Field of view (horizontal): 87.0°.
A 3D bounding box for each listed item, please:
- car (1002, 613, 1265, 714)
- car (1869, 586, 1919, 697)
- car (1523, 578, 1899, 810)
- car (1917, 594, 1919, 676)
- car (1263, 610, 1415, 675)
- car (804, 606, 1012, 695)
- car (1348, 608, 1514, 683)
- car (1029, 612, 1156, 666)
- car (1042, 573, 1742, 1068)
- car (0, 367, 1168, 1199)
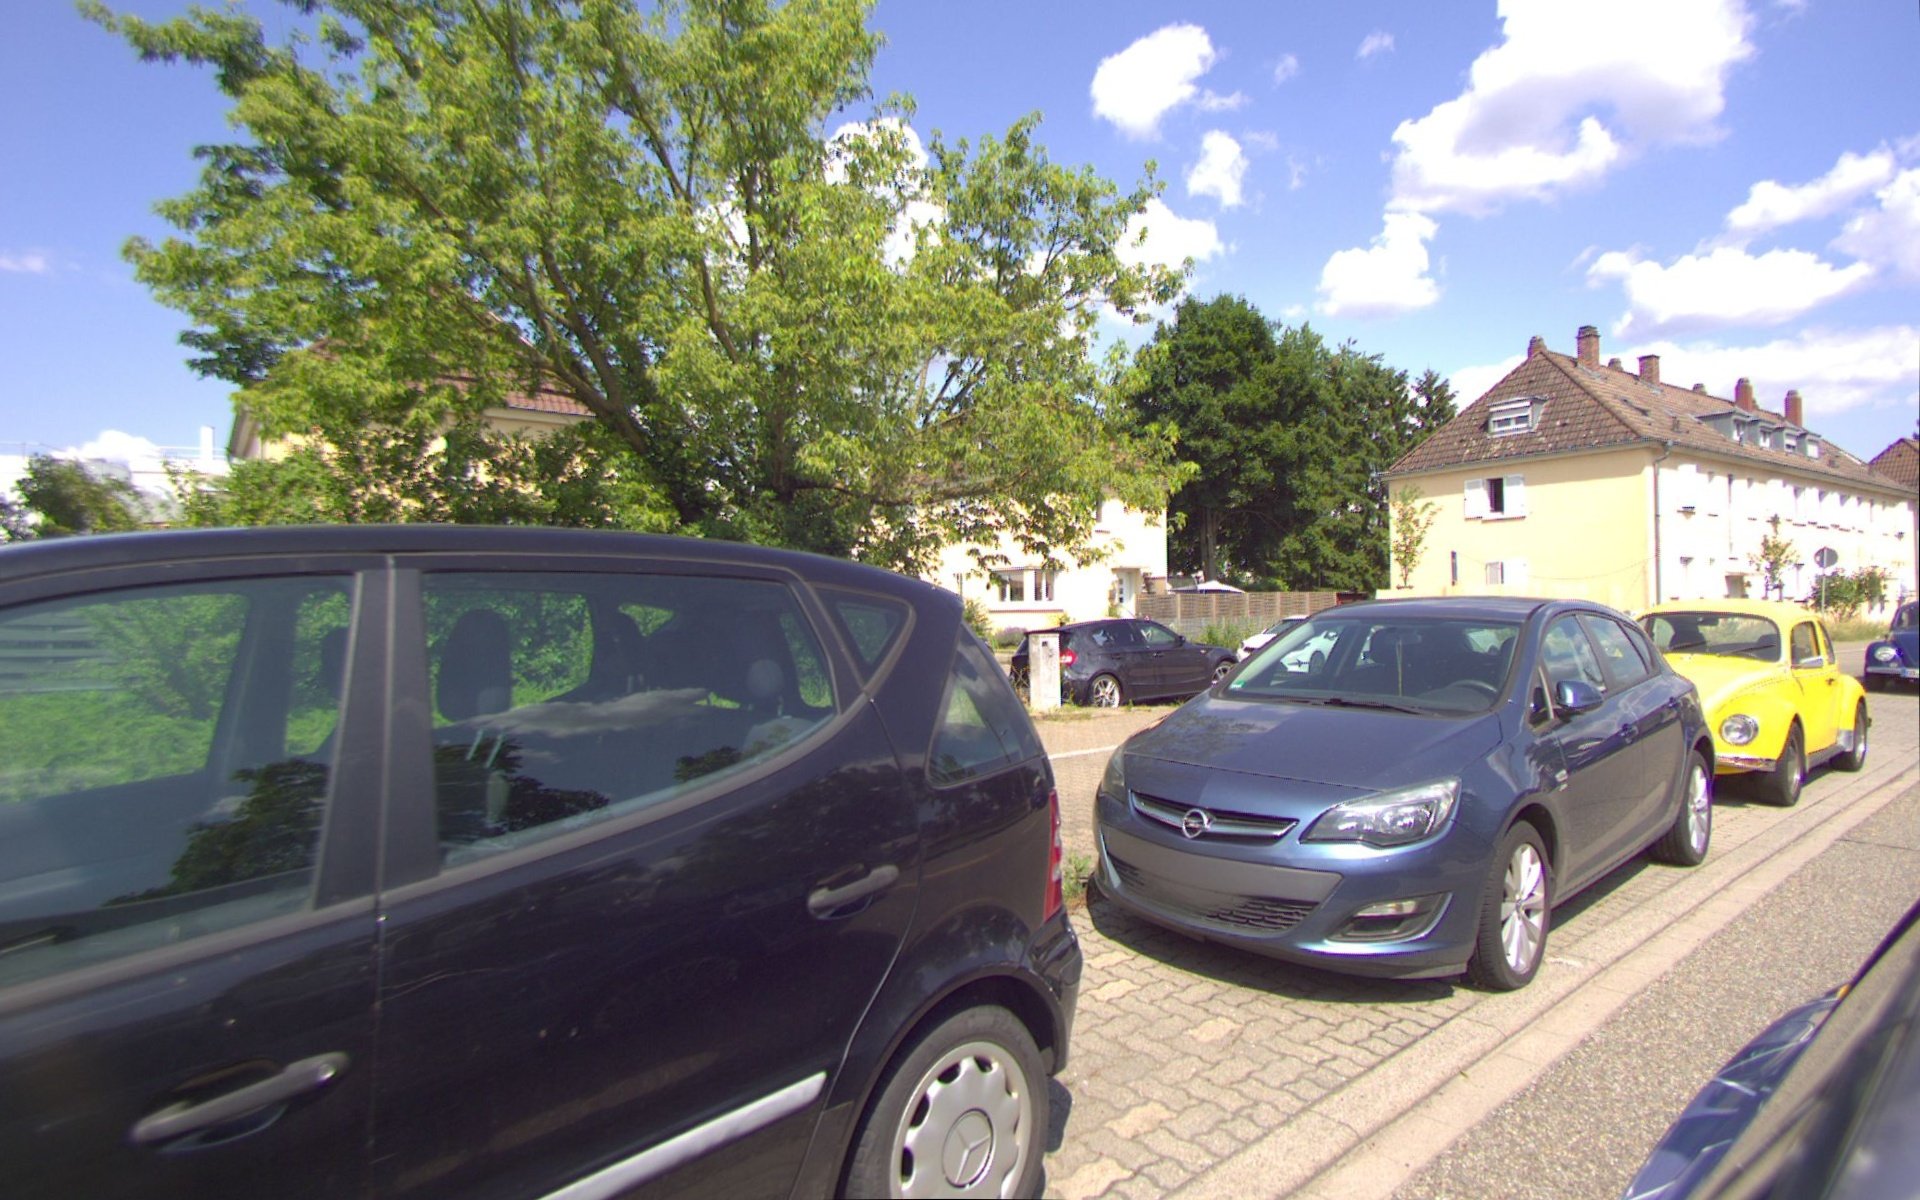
[{"bbox_3d":[2.769,0.908,15.864,4.008,1.372,1.642,0,-1,-33],"label":"car"},{"bbox_3d":[16.167,0.619,16.363,4.170,1.662,1.552,0,-1,-39],"label":"car"},{"bbox_3d":[6.433,0.627,8.526,3.861,1.501,1.640,1,1,-40],"label":"car"},{"bbox_3d":[20.100,0.632,19.533,4.376,1.532,1.582,0,-1,-36],"label":"car"},{"bbox_3d":[9.034,0.948,23.972,4.016,1.391,1.639,0,-1,-41],"label":"car"},{"bbox_3d":[-1.015,0.953,20.764,4.012,1.566,1.641,0,2,-37],"label":"car"},{"bbox_3d":[9.919,0.884,21.184,4.016,1.391,1.639,0,-1,-41],"label":"car"},{"bbox_3d":[3.831,1.075,28.721,1.634,1.392,4.027,-3,-2,40],"label":"car"},{"bbox_3d":[2.403,0.683,5.056,4.053,1.501,1.638,0,-1,-42],"label":"car"},{"bbox_3d":[-1.422,0.566,1.886,3.866,1.623,1.637,0,-1,-44],"label":"car"}]
